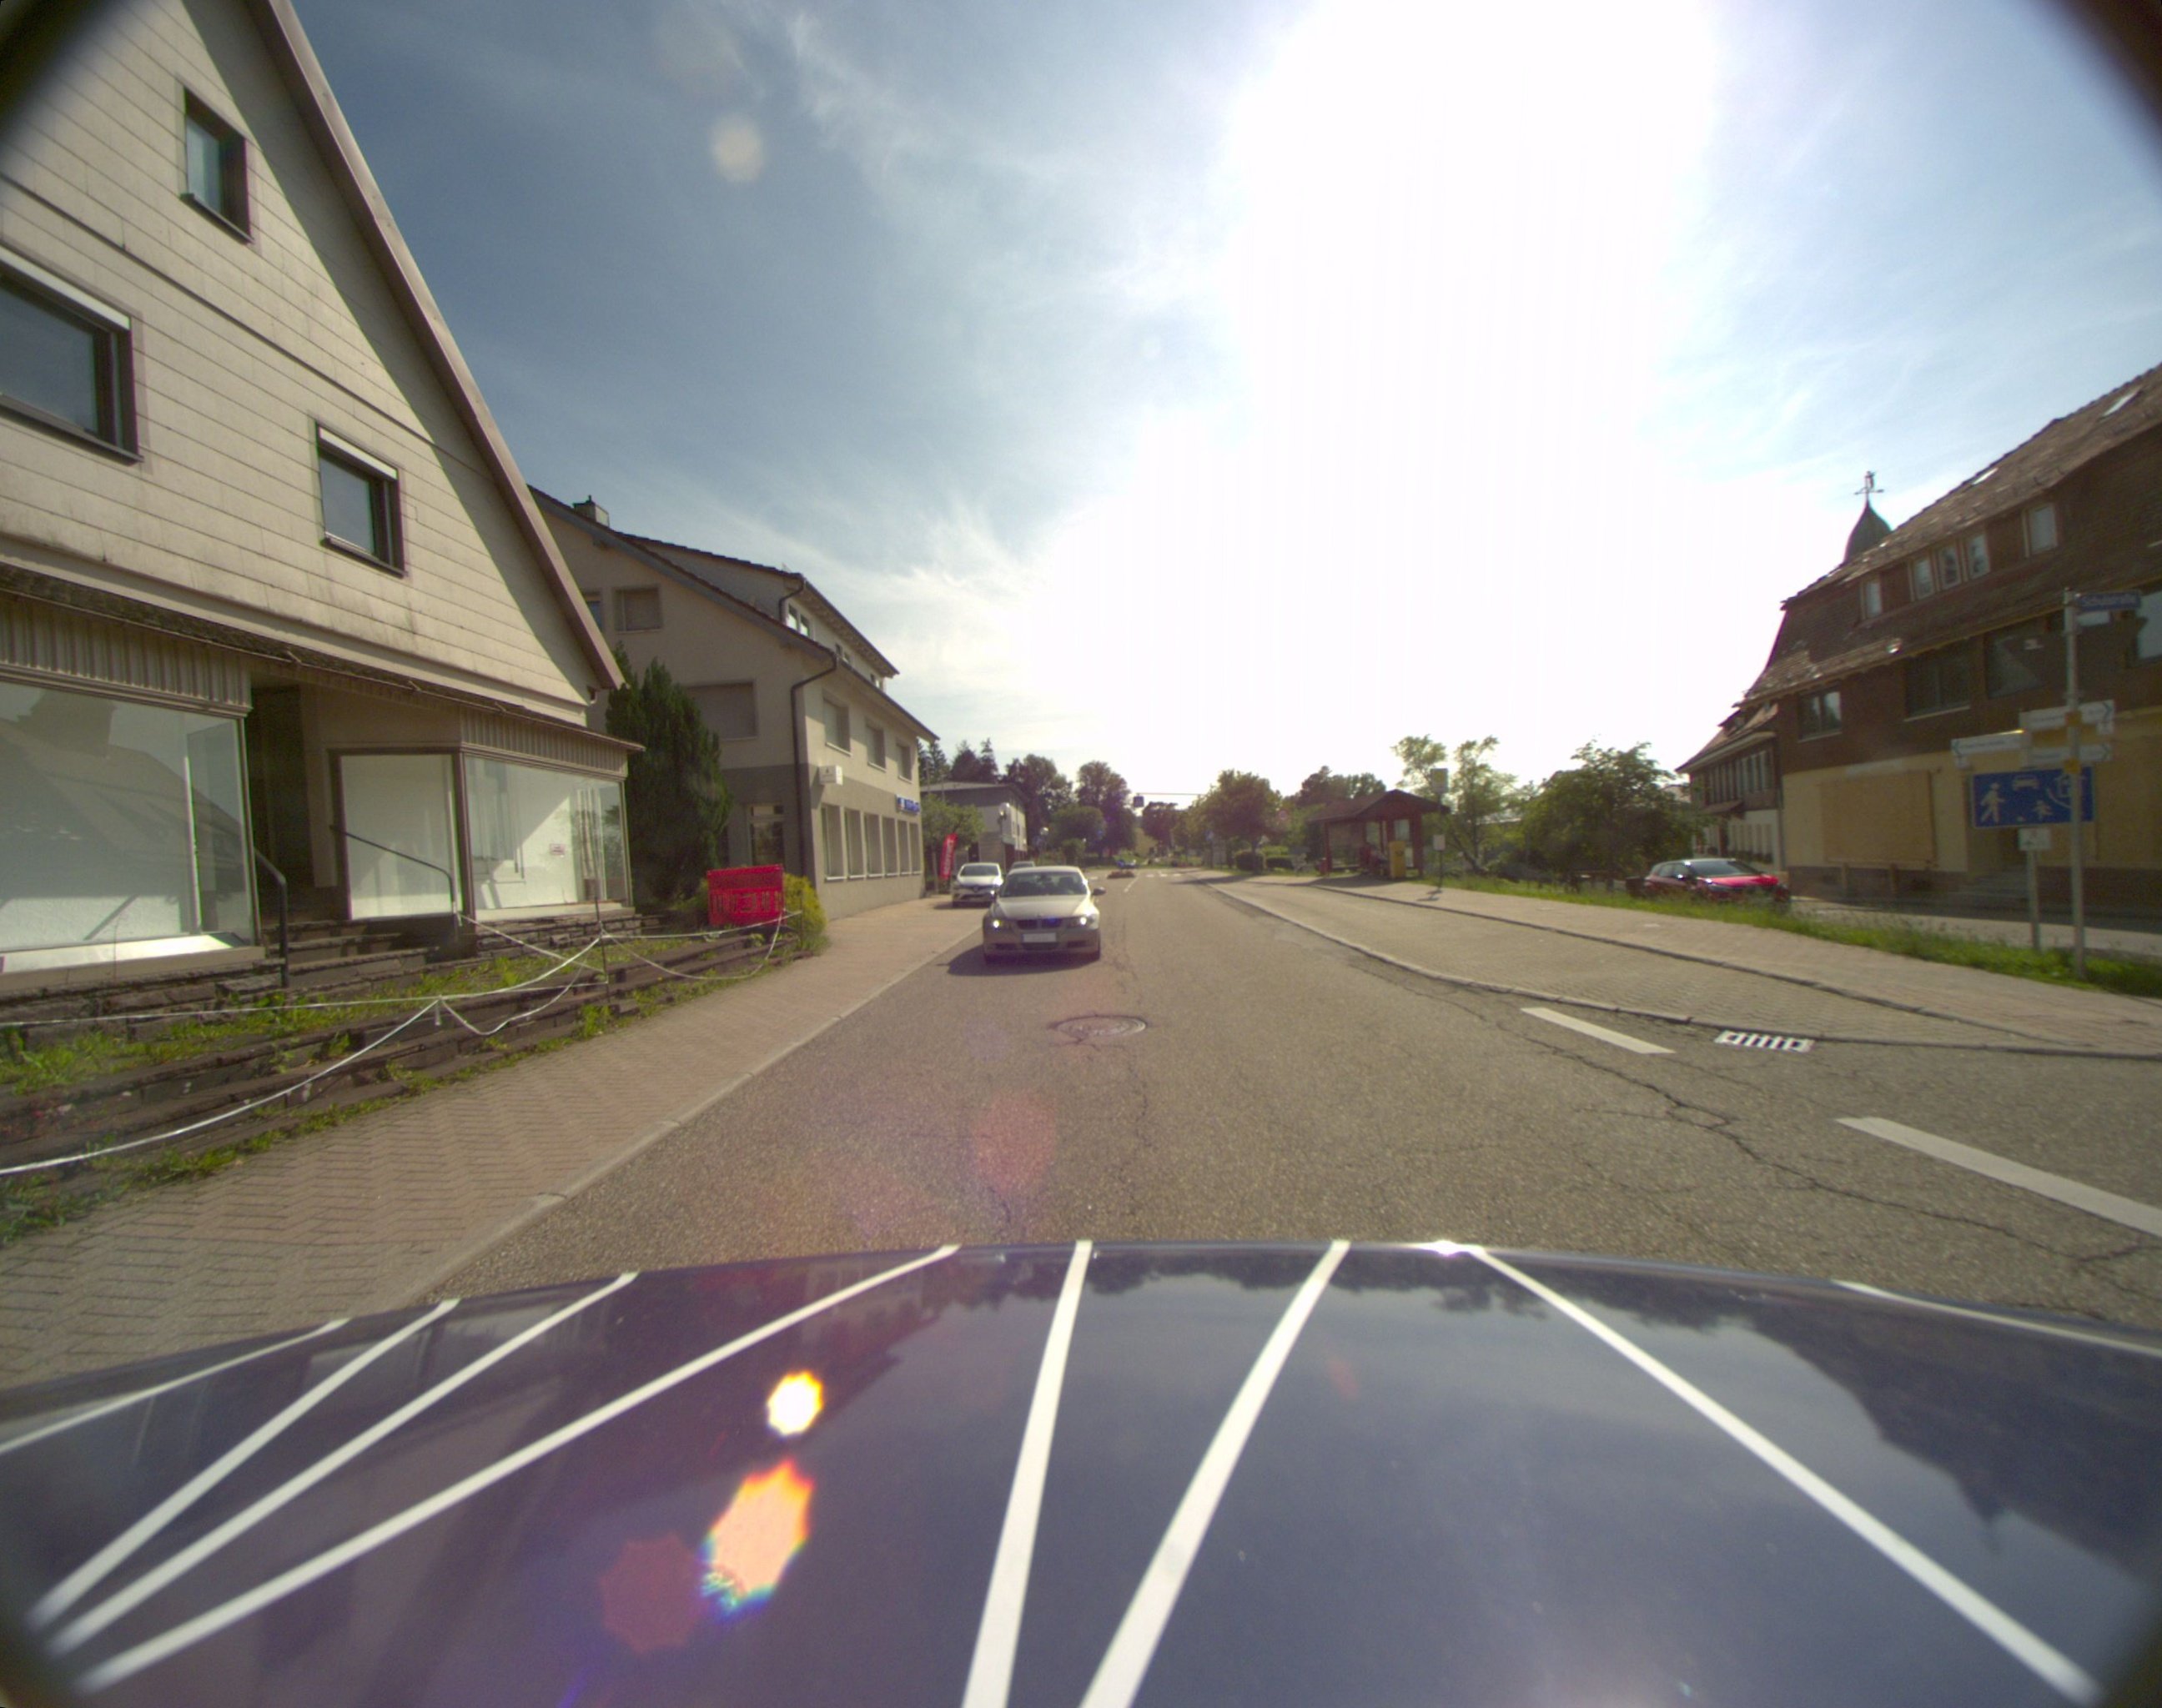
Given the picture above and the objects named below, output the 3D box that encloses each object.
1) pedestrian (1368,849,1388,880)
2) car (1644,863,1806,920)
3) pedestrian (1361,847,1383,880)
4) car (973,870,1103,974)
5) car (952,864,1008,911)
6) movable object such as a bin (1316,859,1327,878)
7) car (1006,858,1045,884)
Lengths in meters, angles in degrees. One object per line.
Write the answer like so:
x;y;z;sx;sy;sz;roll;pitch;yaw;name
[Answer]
11.832;0.420;30.272;0.630;1.245;0.423;-1;0;-2;pedestrian
16.779;0.924;20.072;1.723;1.289;4.005;-1;0;15;car
11.825;0.388;30.871;0.619;1.356;0.674;-1;-1;-1;pedestrian
-0.586;1.033;13.237;1.838;1.360;4.581;-2;0;1;car
-3.398;1.101;26.158;1.640;1.411;3.934;-2;0;-4;car
10.578;0.623;33.488;0.305;0.832;0.485;-2;1;-2;movable object such as a bin
-3.218;0.957;44.665;1.764;1.415;3.635;-1;0;3;car
